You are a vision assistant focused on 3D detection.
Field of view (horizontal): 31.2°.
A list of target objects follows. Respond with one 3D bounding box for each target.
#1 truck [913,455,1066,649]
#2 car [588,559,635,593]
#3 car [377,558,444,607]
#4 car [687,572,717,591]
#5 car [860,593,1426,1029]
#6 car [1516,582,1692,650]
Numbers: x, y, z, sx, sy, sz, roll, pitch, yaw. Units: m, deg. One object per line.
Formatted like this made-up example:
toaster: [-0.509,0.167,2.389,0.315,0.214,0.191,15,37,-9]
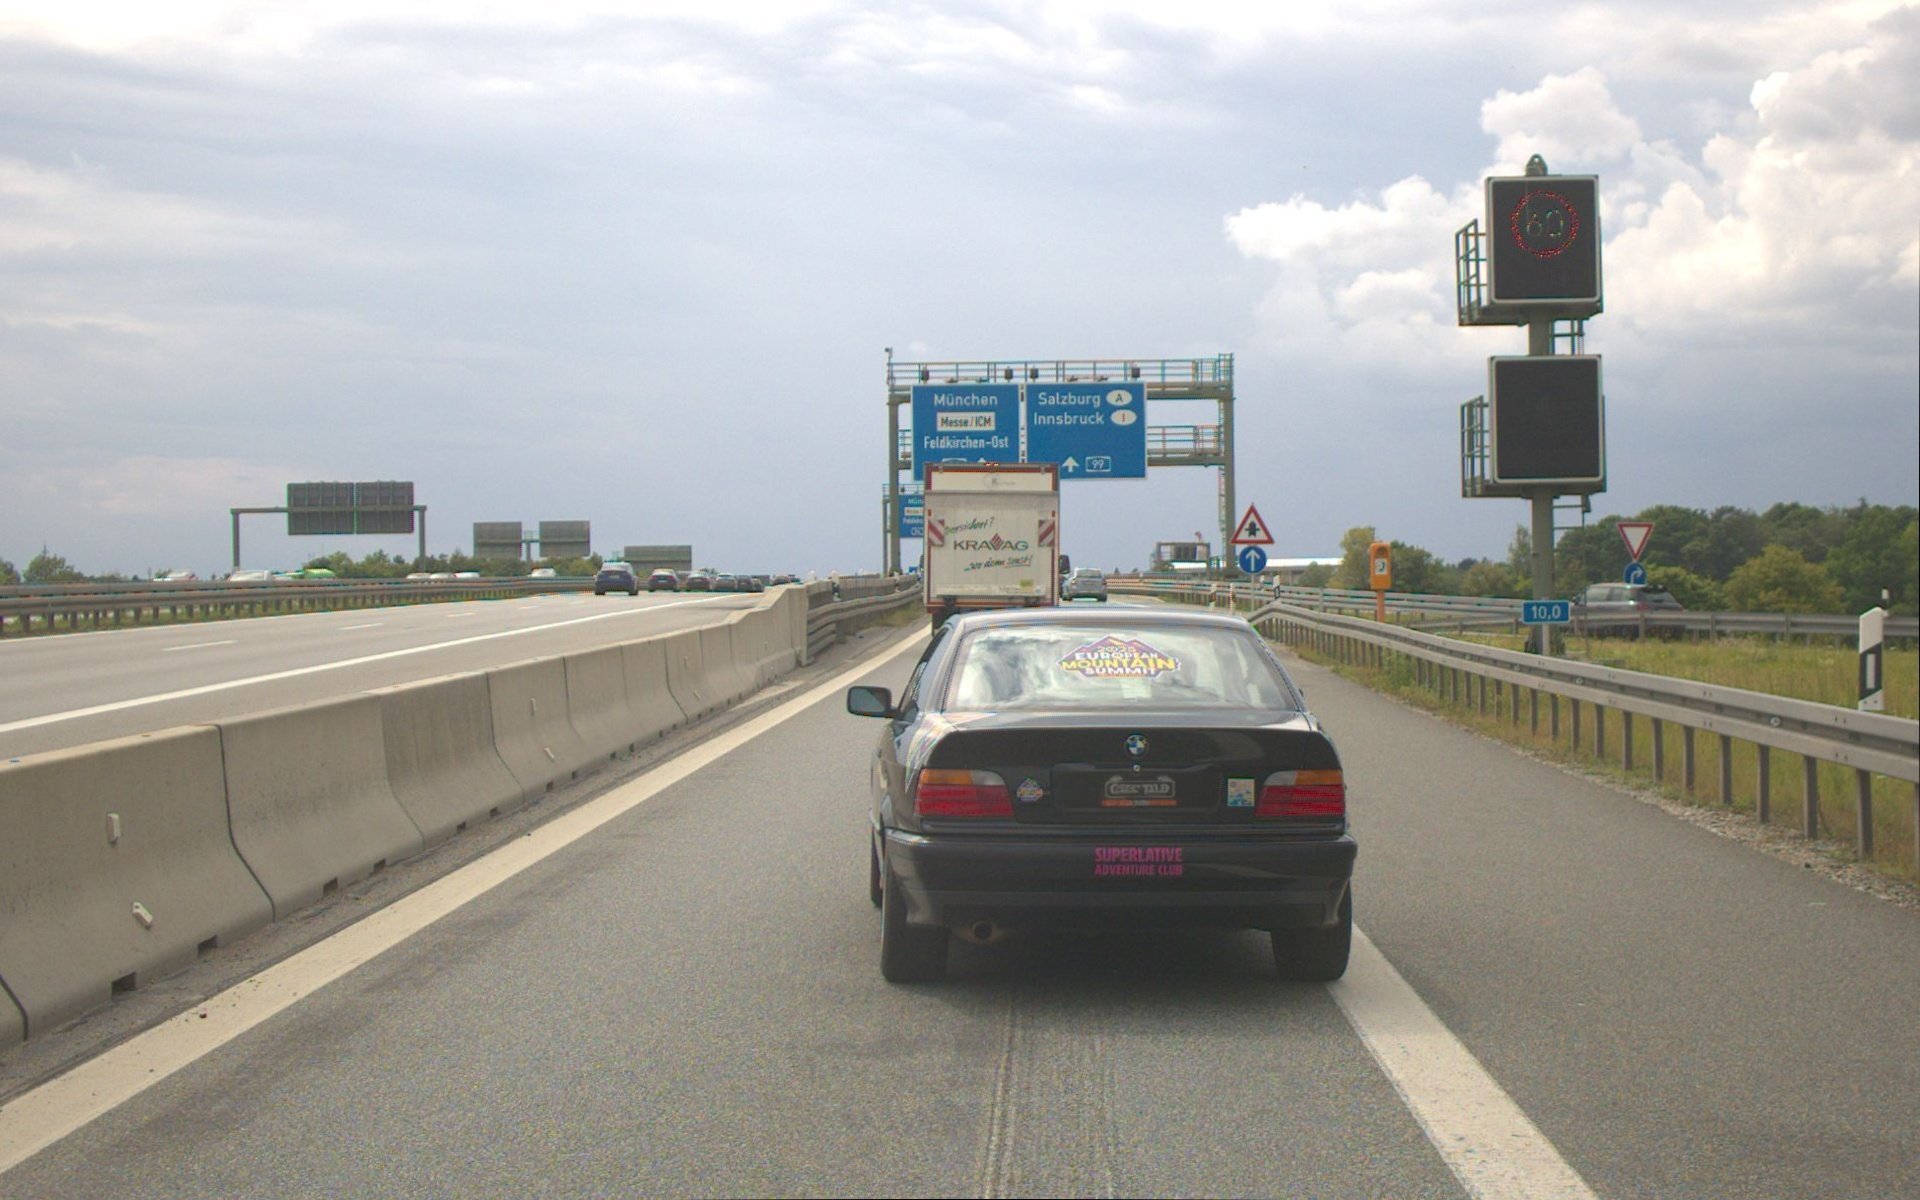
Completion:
truck: [0.474,-0.794,58.174,2.404,3.079,6.370,1,1,0]
car: [-17.235,-1.178,170.341,1.993,1.656,4.384,0,1,-1]
car: [-19.683,-0.642,123.243,1.667,1.700,4.000,1,1,1]
car: [-19.000,-1.347,253.339,1.993,1.393,4.000,0,1,-2]
car: [0.543,0.691,13.338,1.782,1.373,4.137,1,1,-2]
car: [15.382,0.367,82.334,1.993,1.547,4.000,1,0,-30]
